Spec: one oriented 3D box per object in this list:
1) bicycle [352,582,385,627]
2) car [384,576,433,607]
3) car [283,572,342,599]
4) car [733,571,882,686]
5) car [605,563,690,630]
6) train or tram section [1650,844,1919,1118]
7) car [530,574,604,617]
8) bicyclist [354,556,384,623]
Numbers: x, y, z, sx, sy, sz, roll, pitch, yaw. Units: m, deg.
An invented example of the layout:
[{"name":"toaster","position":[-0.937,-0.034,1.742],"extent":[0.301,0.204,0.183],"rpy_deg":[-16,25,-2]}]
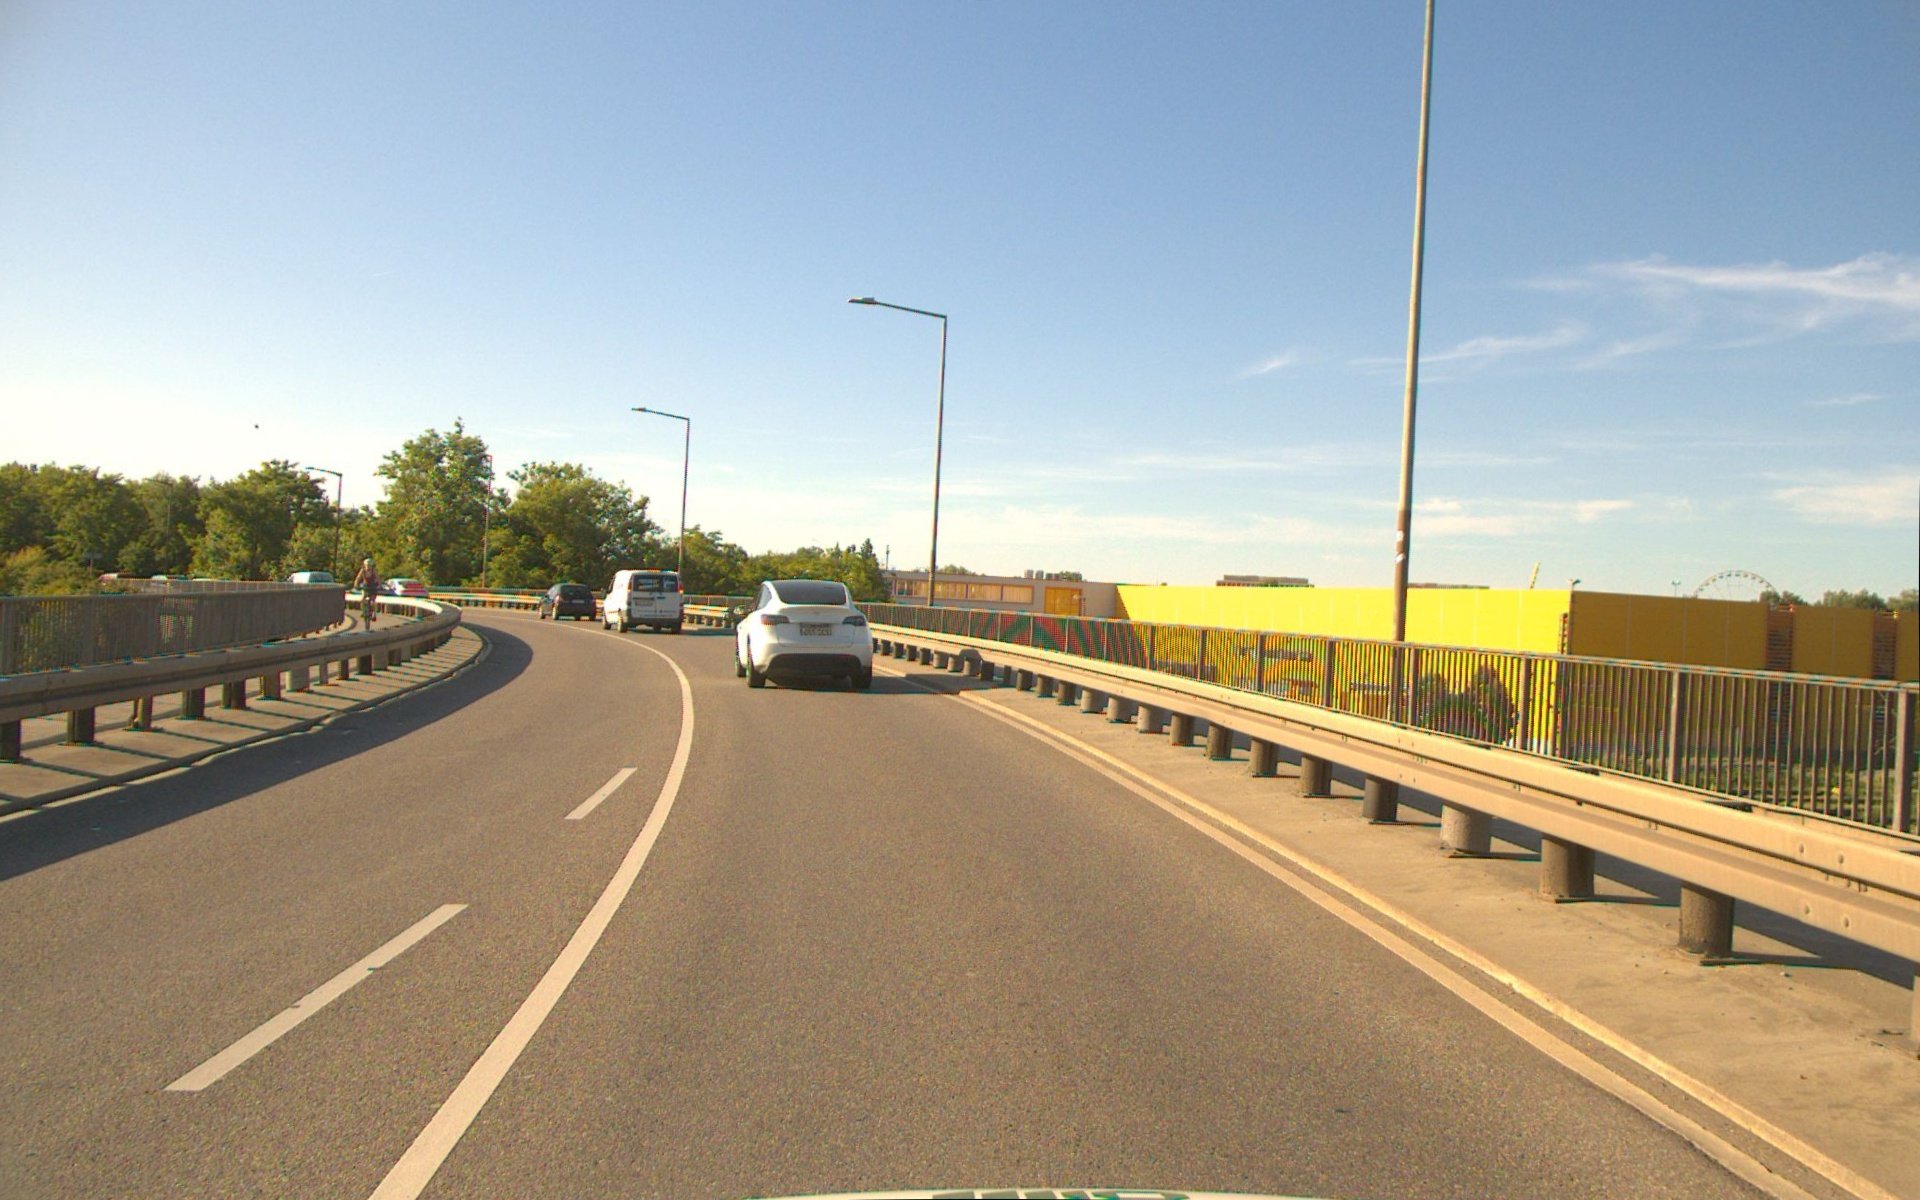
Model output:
[{"name":"bicycle","position":[-14.608,0.097,40.870],"extent":[0.643,1.083,1.881],"rpy_deg":[1,1,-17]},{"name":"car","position":[-29.568,-0.459,88.649],"extent":[1.839,1.612,3.876],"rpy_deg":[0,1,-29]},{"name":"car","position":[-39.283,-0.865,100.352],"extent":[3.824,1.583,1.830],"rpy_deg":[1,1,42]},{"name":"car","position":[-2.501,0.405,26.249],"extent":[1.950,1.666,4.051],"rpy_deg":[0,0,-11]},{"name":"car","position":[-9.785,-0.126,51.530],"extent":[1.975,1.974,4.443],"rpy_deg":[1,1,-19]},{"name":"train or tram section","position":[23.592,9.099,41.154],"extent":[12.841,5.357,3.320],"rpy_deg":[1,0,-19]},{"name":"car","position":[-15.557,-0.185,65.352],"extent":[1.946,1.666,3.964],"rpy_deg":[-1,0,-27]},{"name":"bicyclist","position":[-14.570,-0.261,40.756],"extent":[0.643,1.617,0.764],"rpy_deg":[1,0,-17]}]
